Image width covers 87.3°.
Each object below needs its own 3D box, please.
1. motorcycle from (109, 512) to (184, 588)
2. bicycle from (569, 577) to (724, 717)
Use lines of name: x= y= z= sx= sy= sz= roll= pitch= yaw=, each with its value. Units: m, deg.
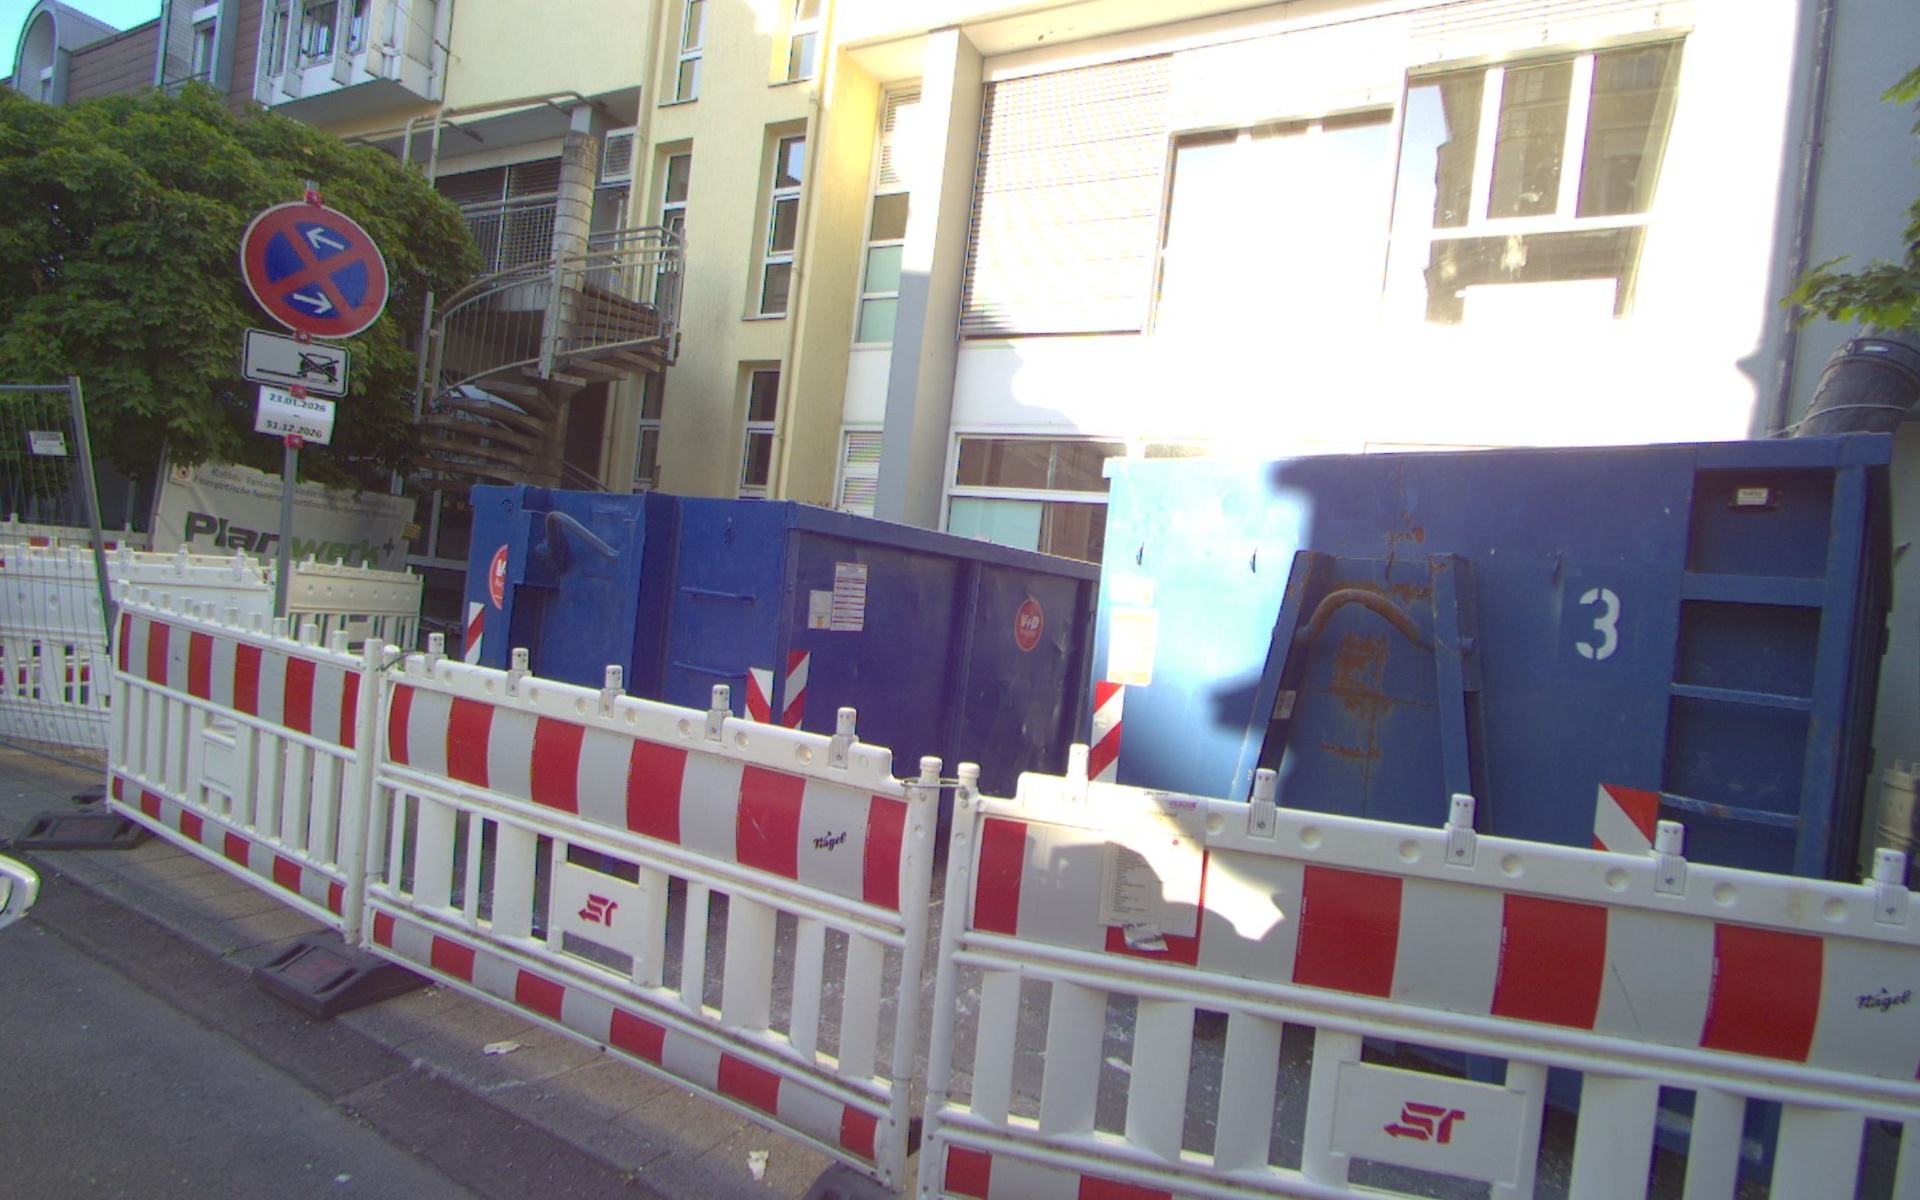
motorcycle: x=-15.233 y=-0.952 z=18.817 sx=0.866 sy=1.237 sz=2.428 roll=6 pitch=0 yaw=-43
bicycle: x=-3.202 y=0.508 z=10.436 sx=0.539 sy=1.282 sz=1.652 roll=7 pitch=-2 yaw=18
